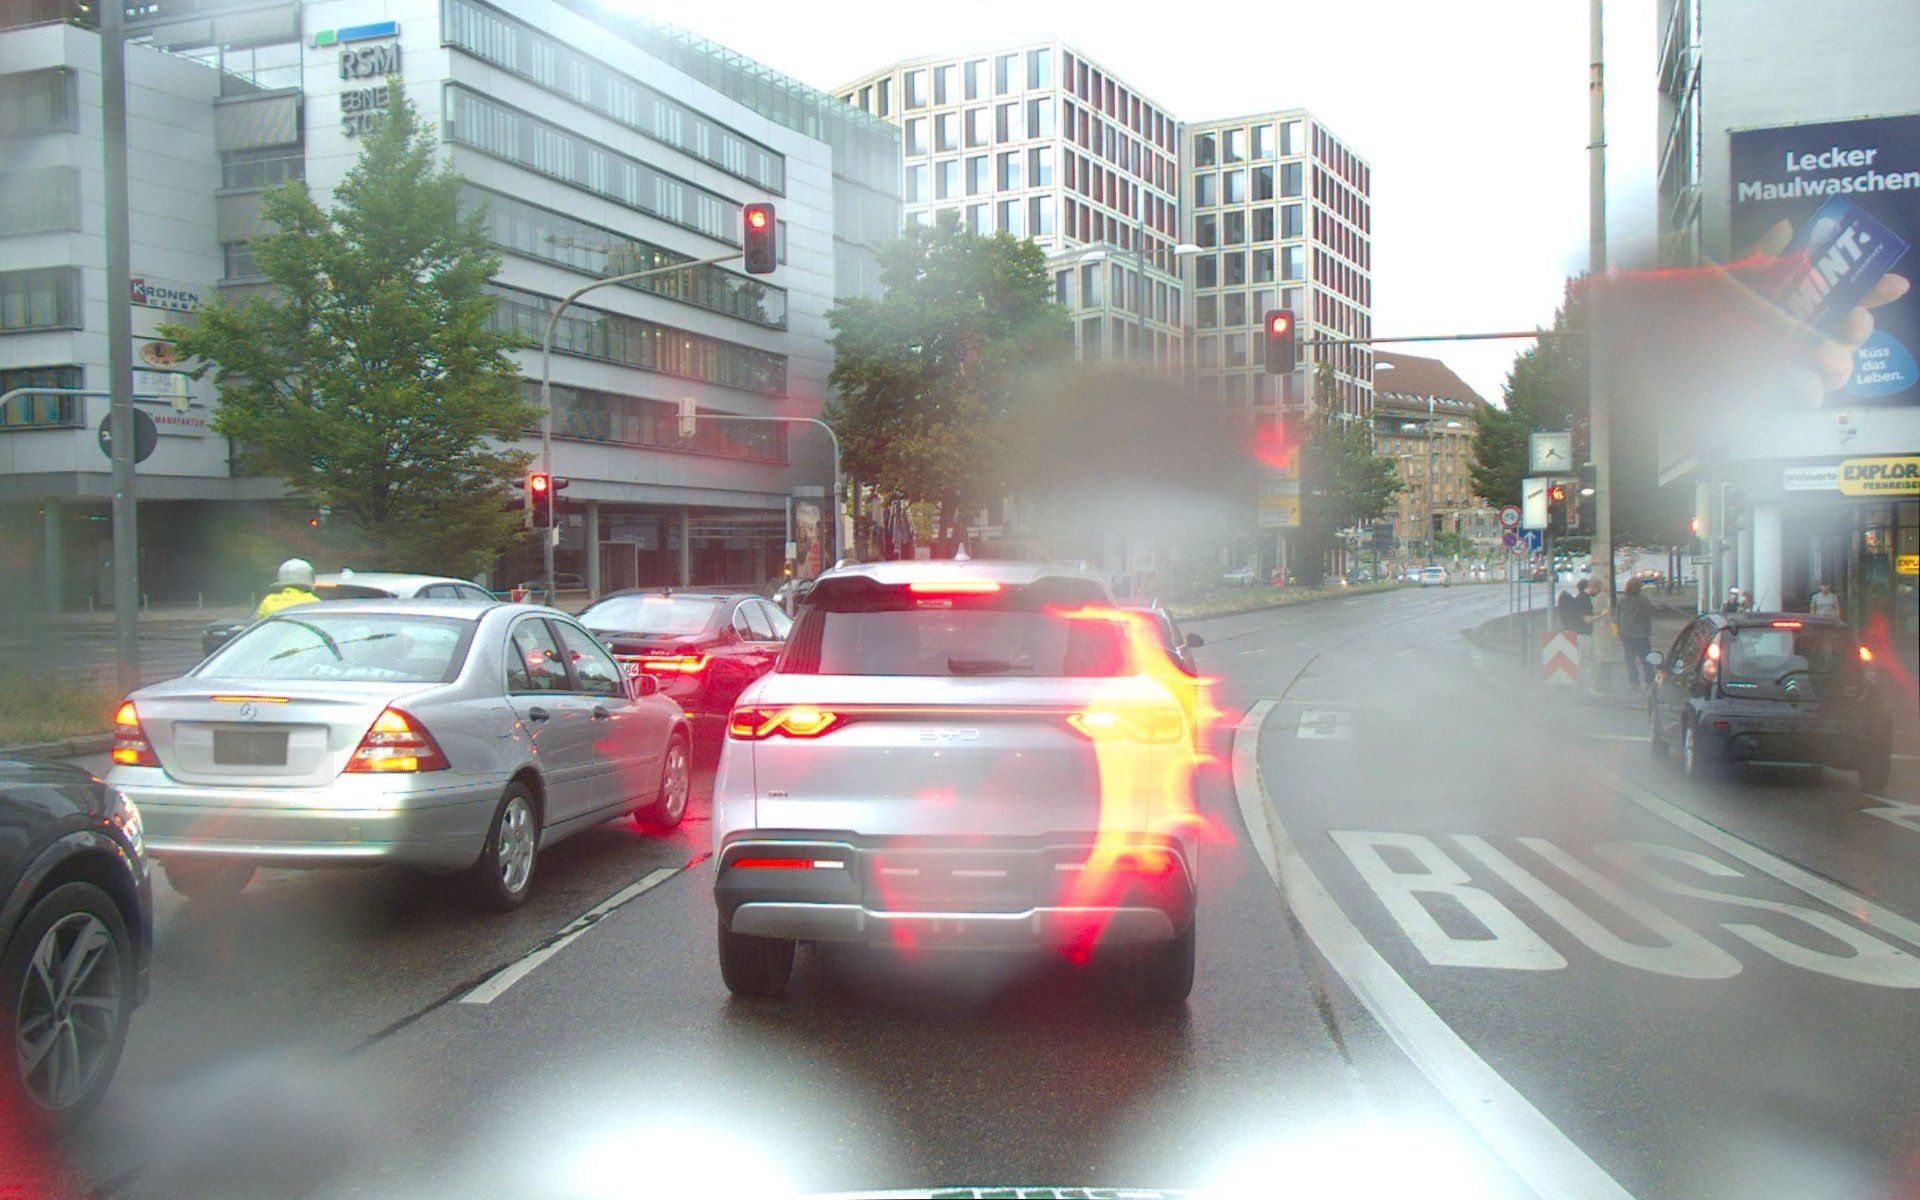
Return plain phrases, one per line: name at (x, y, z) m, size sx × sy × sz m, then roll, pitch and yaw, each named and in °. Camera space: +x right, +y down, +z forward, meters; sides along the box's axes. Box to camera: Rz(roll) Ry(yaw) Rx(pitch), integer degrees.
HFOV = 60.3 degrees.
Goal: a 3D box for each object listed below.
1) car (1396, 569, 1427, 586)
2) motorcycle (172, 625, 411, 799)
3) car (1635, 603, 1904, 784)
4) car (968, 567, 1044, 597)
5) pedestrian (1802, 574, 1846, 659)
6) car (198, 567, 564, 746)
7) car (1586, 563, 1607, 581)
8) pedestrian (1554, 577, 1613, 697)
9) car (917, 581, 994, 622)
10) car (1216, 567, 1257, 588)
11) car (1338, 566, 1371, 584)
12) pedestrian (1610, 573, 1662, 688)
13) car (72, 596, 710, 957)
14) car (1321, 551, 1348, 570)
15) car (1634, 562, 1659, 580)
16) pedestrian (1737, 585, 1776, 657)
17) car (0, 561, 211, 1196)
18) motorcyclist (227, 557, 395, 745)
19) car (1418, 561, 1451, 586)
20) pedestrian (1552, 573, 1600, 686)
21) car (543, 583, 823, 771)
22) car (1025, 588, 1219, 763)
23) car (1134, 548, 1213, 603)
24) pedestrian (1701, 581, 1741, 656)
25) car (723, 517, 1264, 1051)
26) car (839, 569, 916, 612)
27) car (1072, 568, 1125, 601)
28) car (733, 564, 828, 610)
car at (41.161, -2.053, 150.832) m, size 1.955 × 1.514 × 3.996 m, roll 0°, pitch 1°, yaw 27°
motorcycle at (-5.114, 0.812, 12.829) m, size 0.783 × 1.205 × 2.030 m, roll 1°, pitch 0°, yaw 8°
car at (7.483, 0.781, 15.648) m, size 1.537 × 1.454 × 4.003 m, roll 1°, pitch 0°, yaw 15°
car at (2.462, -0.957, 86.434) m, size 1.779 × 1.536 × 5.187 m, roll 0°, pitch 1°, yaw 29°
pedestrian at (18.731, 0.348, 35.864) m, size 0.659 × 1.825 × 0.768 m, roll 1°, pitch 0°, yaw 43°
car at (-5.459, 0.491, 16.180) m, size 1.670 × 1.512 × 4.003 m, roll 1°, pitch 0°, yaw 9°
car at (77.053, -3.363, 200.244) m, size 1.954 × 2.049 × 3.996 m, roll 1°, pitch 0°, yaw 26°
pedestrian at (9.329, 0.545, 24.775) m, size 0.753 × 1.762 × 0.597 m, roll 0°, pitch 0°, yaw 13°
car at (-0.127, 0.066, 60.228) m, size 1.655 × 1.409 × 3.870 m, roll 1°, pitch 0°, yaw 18°
car at (20.567, -1.655, 122.931) m, size 1.955 × 1.514 × 3.996 m, roll 0°, pitch 1°, yaw 27°
car at (34.488, -2.205, 144.537) m, size 1.955 × 1.514 × 3.996 m, roll 0°, pitch 1°, yaw 27°
pedestrian at (11.011, 0.483, 26.959) m, size 0.733 × 1.829 × 0.817 m, roll 0°, pitch 1°, yaw 20°
car at (-2.650, 0.721, 8.797) m, size 1.537 × 1.432 × 4.112 m, roll 1°, pitch 0°, yaw 7°
car at (37.175, -3.913, 164.117) m, size 1.577 × 1.771 × 3.437 m, roll 1°, pitch 0°, yaw 31°
car at (62.880, -2.650, 151.374) m, size 1.662 × 1.512 × 3.993 m, roll 1°, pitch 0°, yaw 29°
pedestrian at (17.660, 0.458, 36.654) m, size 0.615 × 1.570 × 0.649 m, roll 1°, pitch 0°, yaw 43°
car at (-3.131, 0.677, 2.991) m, size 1.614 × 1.548 × 4.271 m, roll 1°, pitch 1°, yaw 0°
motorcyclist at (-5.082, 0.384, 13.015) m, size 0.753 × 1.404 × 1.119 m, roll 1°, pitch 0°, yaw 8°
car at (33.370, -1.843, 116.276) m, size 1.849 × 1.671 × 4.000 m, roll 1°, pitch 1°, yaw 22°
pedestrian at (10.188, 0.474, 27.365) m, size 0.733 × 1.829 × 0.817 m, roll 0°, pitch 1°, yaw 20°
car at (-2.434, 0.635, 15.512) m, size 1.537 × 1.512 × 4.003 m, roll 1°, pitch 0°, yaw 6°
car at (1.738, 0.675, 16.649) m, size 1.657 × 1.512 × 4.003 m, roll 1°, pitch 0°, yaw 10°
car at (8.473, -0.945, 65.287) m, size 1.953 × 2.049 × 4.848 m, roll 1°, pitch 0°, yaw 22°
pedestrian at (17.138, 0.410, 37.240) m, size 0.659 × 1.684 × 0.649 m, roll 1°, pitch 0°, yaw 43°
car at (0.153, 0.603, 7.383) m, size 1.739 × 1.708 × 4.000 m, roll 1°, pitch 0°, yaw 1°
car at (-3.017, -0.356, 61.407) m, size 1.609 × 1.563 × 4.155 m, roll 1°, pitch 0°, yaw 15°
car at (7.069, -0.798, 84.077) m, size 1.610 × 1.608 × 4.086 m, roll 1°, pitch 0°, yaw 21°
car at (-6.652, -0.486, 61.684) m, size 1.952 × 1.639 × 4.001 m, roll 1°, pitch 1°, yaw 20°
